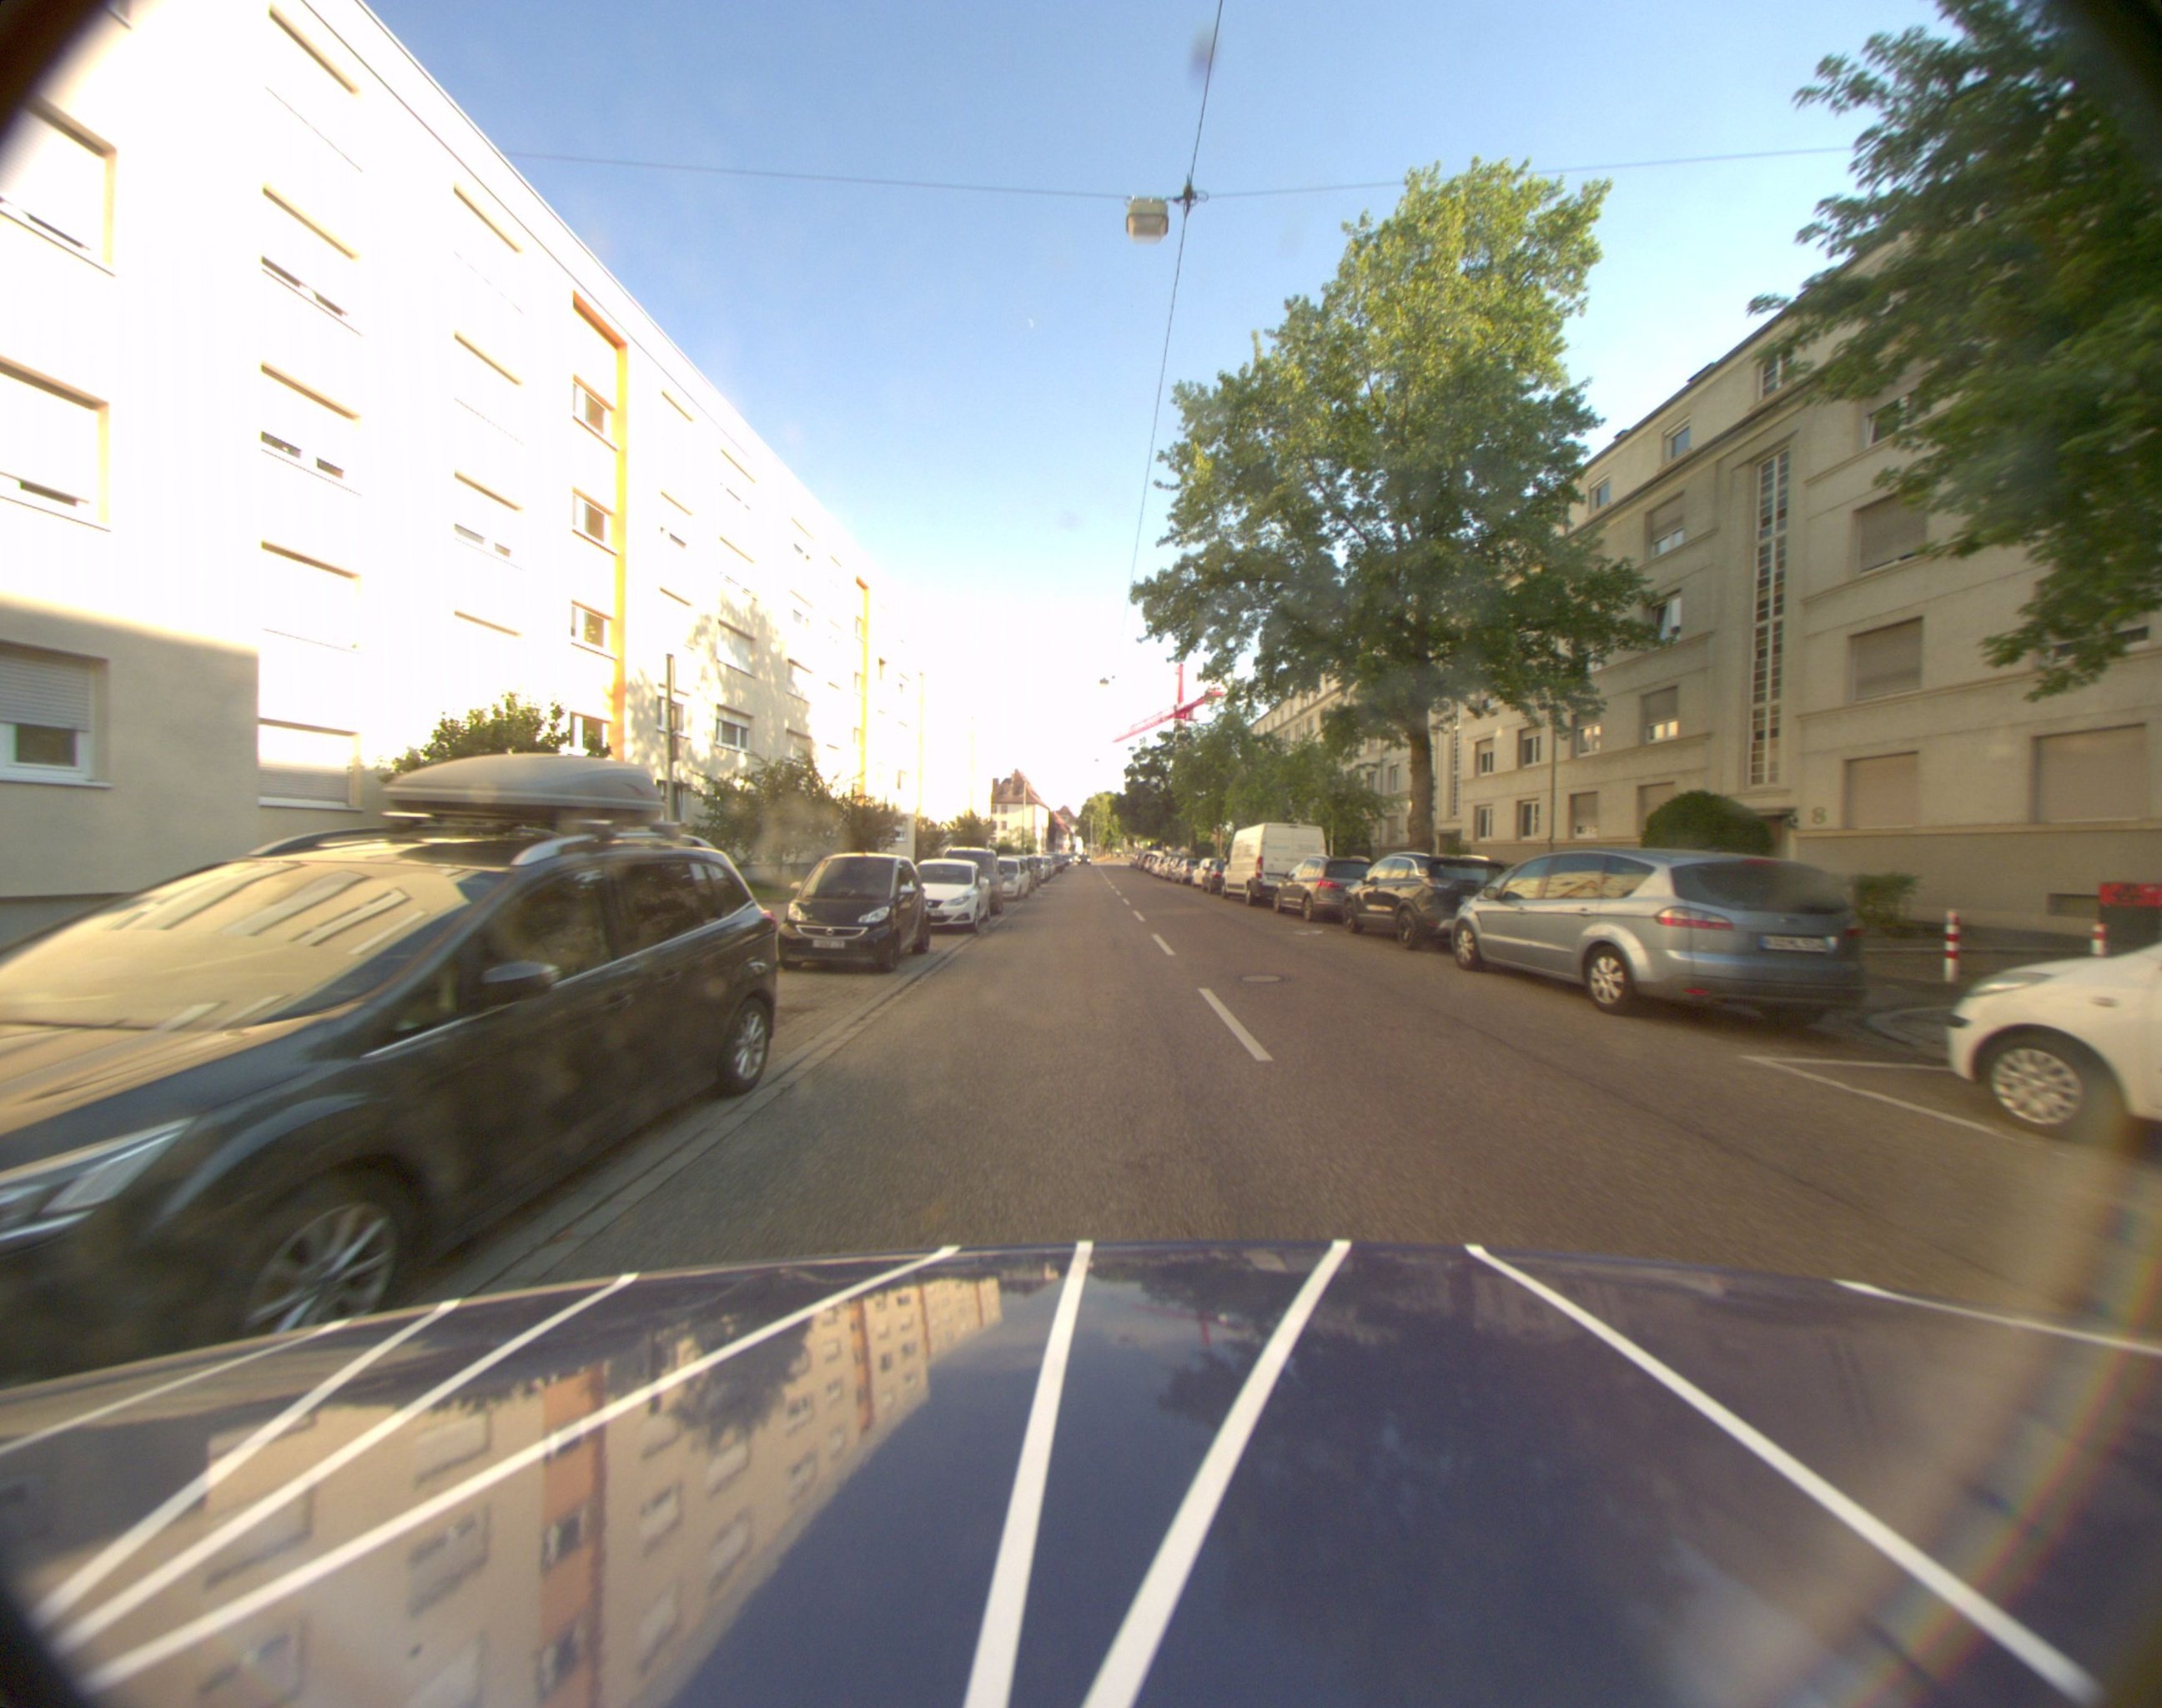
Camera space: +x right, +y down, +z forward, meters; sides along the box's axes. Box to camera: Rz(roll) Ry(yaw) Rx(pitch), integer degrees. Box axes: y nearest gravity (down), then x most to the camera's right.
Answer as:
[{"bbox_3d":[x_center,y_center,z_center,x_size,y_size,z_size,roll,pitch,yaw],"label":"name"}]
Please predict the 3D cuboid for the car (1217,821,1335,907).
[{"bbox_3d":[6.144,0.231,24.877,2.364,2.432,6.163,-1,1,1],"label":"car"}]

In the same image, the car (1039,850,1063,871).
[{"bbox_3d":[-2.537,0.539,65.183,1.776,1.668,4.645,-1,1,0],"label":"car"}]

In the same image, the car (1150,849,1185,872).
[{"bbox_3d":[6.403,0.439,56.721,2.009,1.543,4.470,-1,1,-1],"label":"car"}]

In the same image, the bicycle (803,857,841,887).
[{"bbox_3d":[-10.747,0.730,31.595,0.494,1.107,2.394,5,1,4],"label":"bicycle"}]

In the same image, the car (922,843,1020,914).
[{"bbox_3d":[-2.977,0.660,21.651,2.029,1.739,4.767,-2,-1,0],"label":"car"}]

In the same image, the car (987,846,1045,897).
[{"bbox_3d":[-2.720,0.690,32.569,1.842,1.762,3.978,8,1,1],"label":"car"}]

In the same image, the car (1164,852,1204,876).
[{"bbox_3d":[6.367,0.595,47.240,1.878,1.348,3.999,-1,1,-1],"label":"car"}]

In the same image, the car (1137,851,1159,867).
[{"bbox_3d":[6.996,0.545,79.401,1.878,1.543,3.999,-1,1,-1],"label":"car"}]

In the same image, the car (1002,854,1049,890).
[{"bbox_3d":[-2.746,0.868,38.214,1.967,1.596,4.278,1,1,1],"label":"car"}]

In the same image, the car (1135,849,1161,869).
[{"bbox_3d":[6.424,0.428,72.925,1.878,1.749,4.687,-1,1,-2],"label":"car"}]

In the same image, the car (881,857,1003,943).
[{"bbox_3d":[-2.836,0.859,16.511,1.683,1.407,4.723,3,1,0],"label":"car"}]

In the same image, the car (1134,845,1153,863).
[{"bbox_3d":[7.252,-0.065,88.663,1.846,1.886,4.486,3,1,1],"label":"car"}]

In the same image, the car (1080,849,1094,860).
[{"bbox_3d":[0.781,0.065,101.315,1.775,1.492,3.674,0,0,1],"label":"car"}]

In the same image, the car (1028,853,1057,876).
[{"bbox_3d":[-2.716,0.741,53.988,1.776,1.445,3.999,-1,1,0],"label":"car"}]

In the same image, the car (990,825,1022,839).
[{"bbox_3d":[-10.196,-2.944,103.449,3.996,1.784,2.000,-1,1,1],"label":"car"}]

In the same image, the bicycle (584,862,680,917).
[{"bbox_3d":[-9.579,0.733,16.353,0.601,1.075,2.393,1,-1,1],"label":"bicycle"}]

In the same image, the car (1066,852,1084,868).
[{"bbox_3d":[-0.648,0.573,77.413,1.803,1.498,4.620,0,1,-1],"label":"car"}]

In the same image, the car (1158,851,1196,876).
[{"bbox_3d":[6.431,0.612,51.095,1.878,1.543,3.998,-2,1,-2],"label":"car"}]

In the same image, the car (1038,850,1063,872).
[{"bbox_3d":[-2.410,0.525,60.751,1.776,1.607,3.999,3,1,0],"label":"car"}]

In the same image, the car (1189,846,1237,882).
[{"bbox_3d":[6.409,0.522,37.161,1.711,1.564,3.262,-5,-1,1],"label":"car"}]

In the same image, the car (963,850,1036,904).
[{"bbox_3d":[-2.734,0.727,26.350,1.841,1.493,4.172,5,1,2],"label":"car"}]

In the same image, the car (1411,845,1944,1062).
[{"bbox_3d":[5.772,0.789,8.482,1.875,1.549,5.056,5,0,0],"label":"car"}]

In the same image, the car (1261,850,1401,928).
[{"bbox_3d":[5.939,0.750,18.689,1.962,1.549,4.345,2,1,0],"label":"car"}]

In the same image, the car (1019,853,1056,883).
[{"bbox_3d":[-2.451,0.764,43.505,1.878,1.434,3.998,3,1,-1],"label":"car"}]

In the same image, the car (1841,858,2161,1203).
[{"bbox_3d":[5.918,0.885,2.883,1.875,1.549,4.100,3,1,0],"label":"car"}]

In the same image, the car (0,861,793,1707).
[{"bbox_3d":[-3.005,0.883,3.203,1.902,1.641,4.342,1,0,0],"label":"car"}]

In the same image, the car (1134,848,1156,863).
[{"bbox_3d":[7.021,0.183,83.724,1.878,1.543,3.998,1,1,-2],"label":"car"}]

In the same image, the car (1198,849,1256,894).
[{"bbox_3d":[5.954,0.676,31.358,1.711,1.565,3.818,-3,2,2],"label":"car"}]

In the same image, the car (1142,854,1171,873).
[{"bbox_3d":[6.319,0.800,64.003,1.878,1.426,4.802,0,1,-1],"label":"car"}]

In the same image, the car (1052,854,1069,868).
[{"bbox_3d":[-2.581,0.874,95.034,1.891,1.552,4.944,2,1,-3],"label":"car"}]

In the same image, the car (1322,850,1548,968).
[{"bbox_3d":[5.970,0.817,13.509,1.875,1.549,4.364,5,1,0],"label":"car"}]

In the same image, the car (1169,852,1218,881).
[{"bbox_3d":[6.191,0.662,42.321,1.878,1.348,4.652,-2,1,-1],"label":"car"}]

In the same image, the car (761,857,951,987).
[{"bbox_3d":[-3.087,0.841,11.294,1.610,1.486,4.041,0,1,0],"label":"car"}]
